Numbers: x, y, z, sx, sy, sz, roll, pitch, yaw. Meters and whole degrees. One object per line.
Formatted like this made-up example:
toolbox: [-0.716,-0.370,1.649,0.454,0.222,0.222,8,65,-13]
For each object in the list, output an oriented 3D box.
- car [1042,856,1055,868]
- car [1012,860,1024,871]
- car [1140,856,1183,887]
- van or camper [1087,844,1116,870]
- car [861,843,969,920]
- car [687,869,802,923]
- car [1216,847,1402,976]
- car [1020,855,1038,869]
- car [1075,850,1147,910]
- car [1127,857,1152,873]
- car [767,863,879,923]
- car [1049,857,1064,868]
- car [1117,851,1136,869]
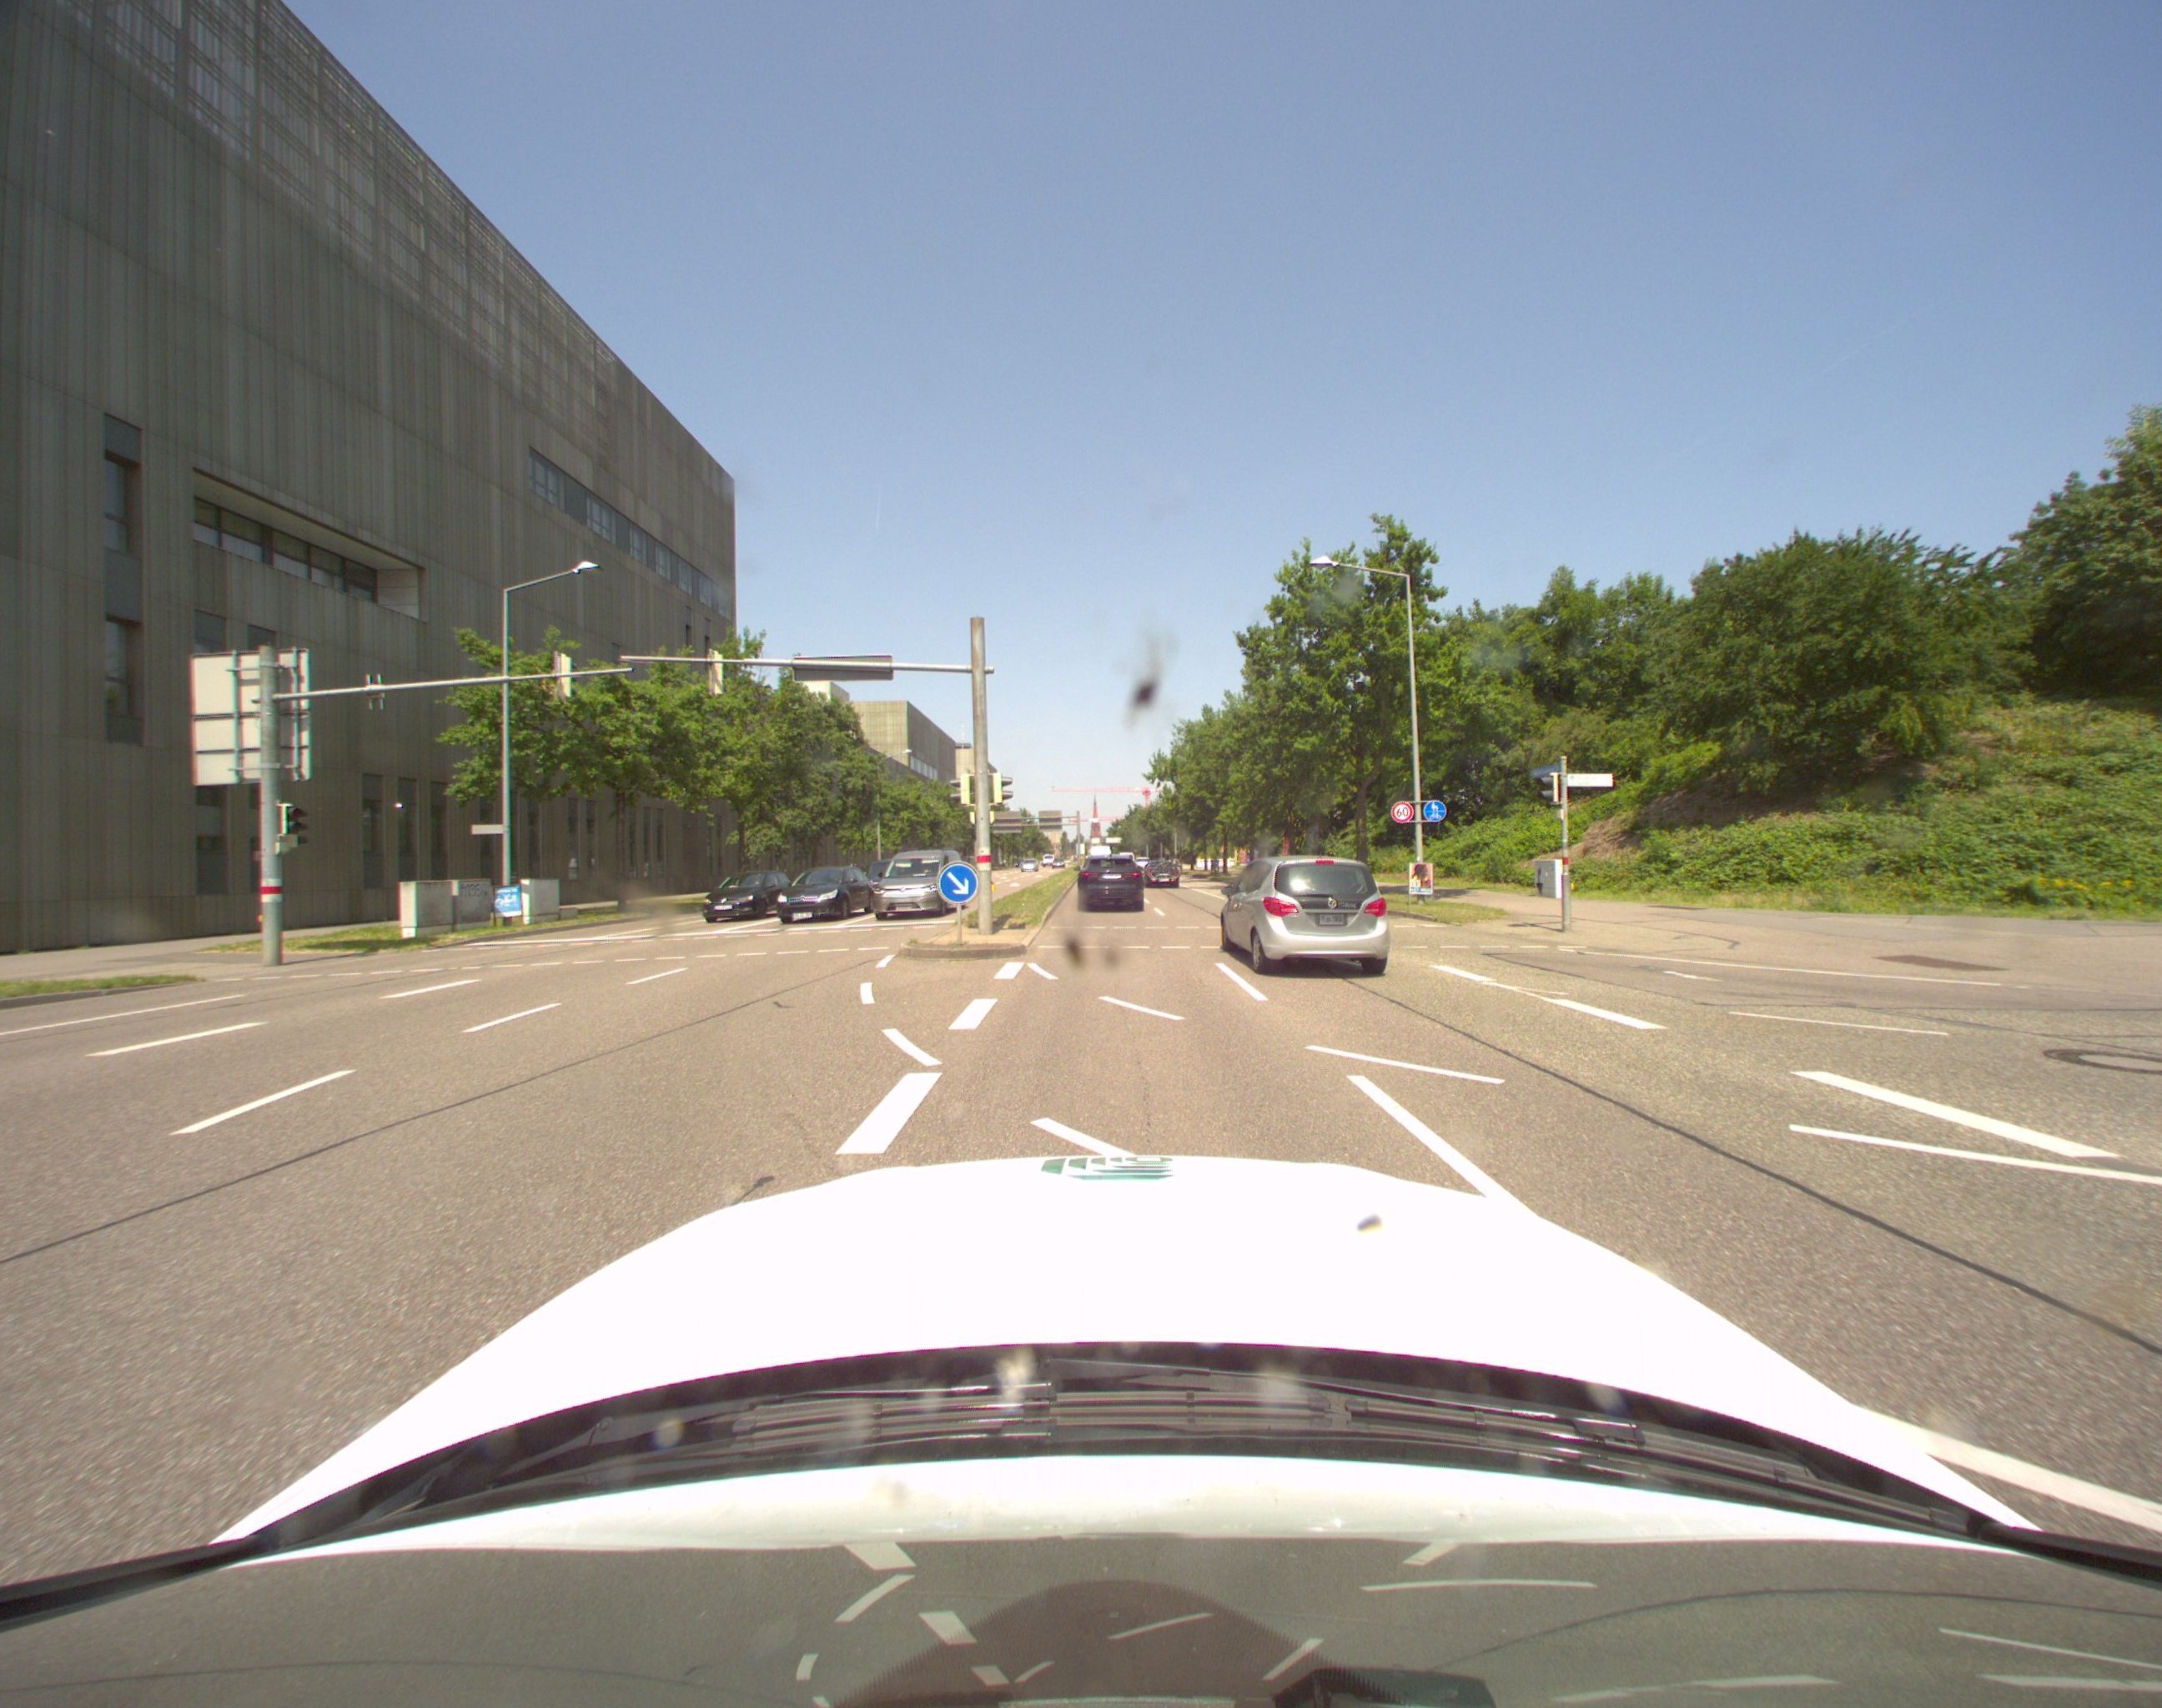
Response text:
car: [-5.380,1.315,135.061,1.903,1.993,4.897,-2,0,0]
car: [-11.381,2.097,147.655,1.805,1.747,4.644,-2,0,-1]
car: [4.132,0.882,42.561,2.006,1.517,4.464,-1,-1,3]
van or camper: [1.862,0.292,75.994,2.485,2.291,4.920,-1,-1,0]
car: [-4.435,0.674,22.478,1.803,1.801,4.715,-3,0,2]
car: [-10.252,1.225,25.179,1.805,1.417,4.248,-2,0,-1]
car: [3.189,0.733,12.205,1.786,1.612,3.892,0,0,1]
car: [-5.878,0.904,92.190,1.760,1.460,4.143,-2,0,-1]
car: [0.916,0.732,24.690,1.990,1.689,4.036,0,0,2]
car: [5.189,0.959,72.180,1.651,1.356,4.455,-1,-1,-3]
car: [-7.125,1.015,22.987,1.805,1.446,4.248,-2,0,-1]
car: [-3.304,1.143,111.126,1.804,1.466,4.058,-3,0,1]
car: [5.009,0.673,90.984,1.986,2.014,4.001,-1,0,2]
